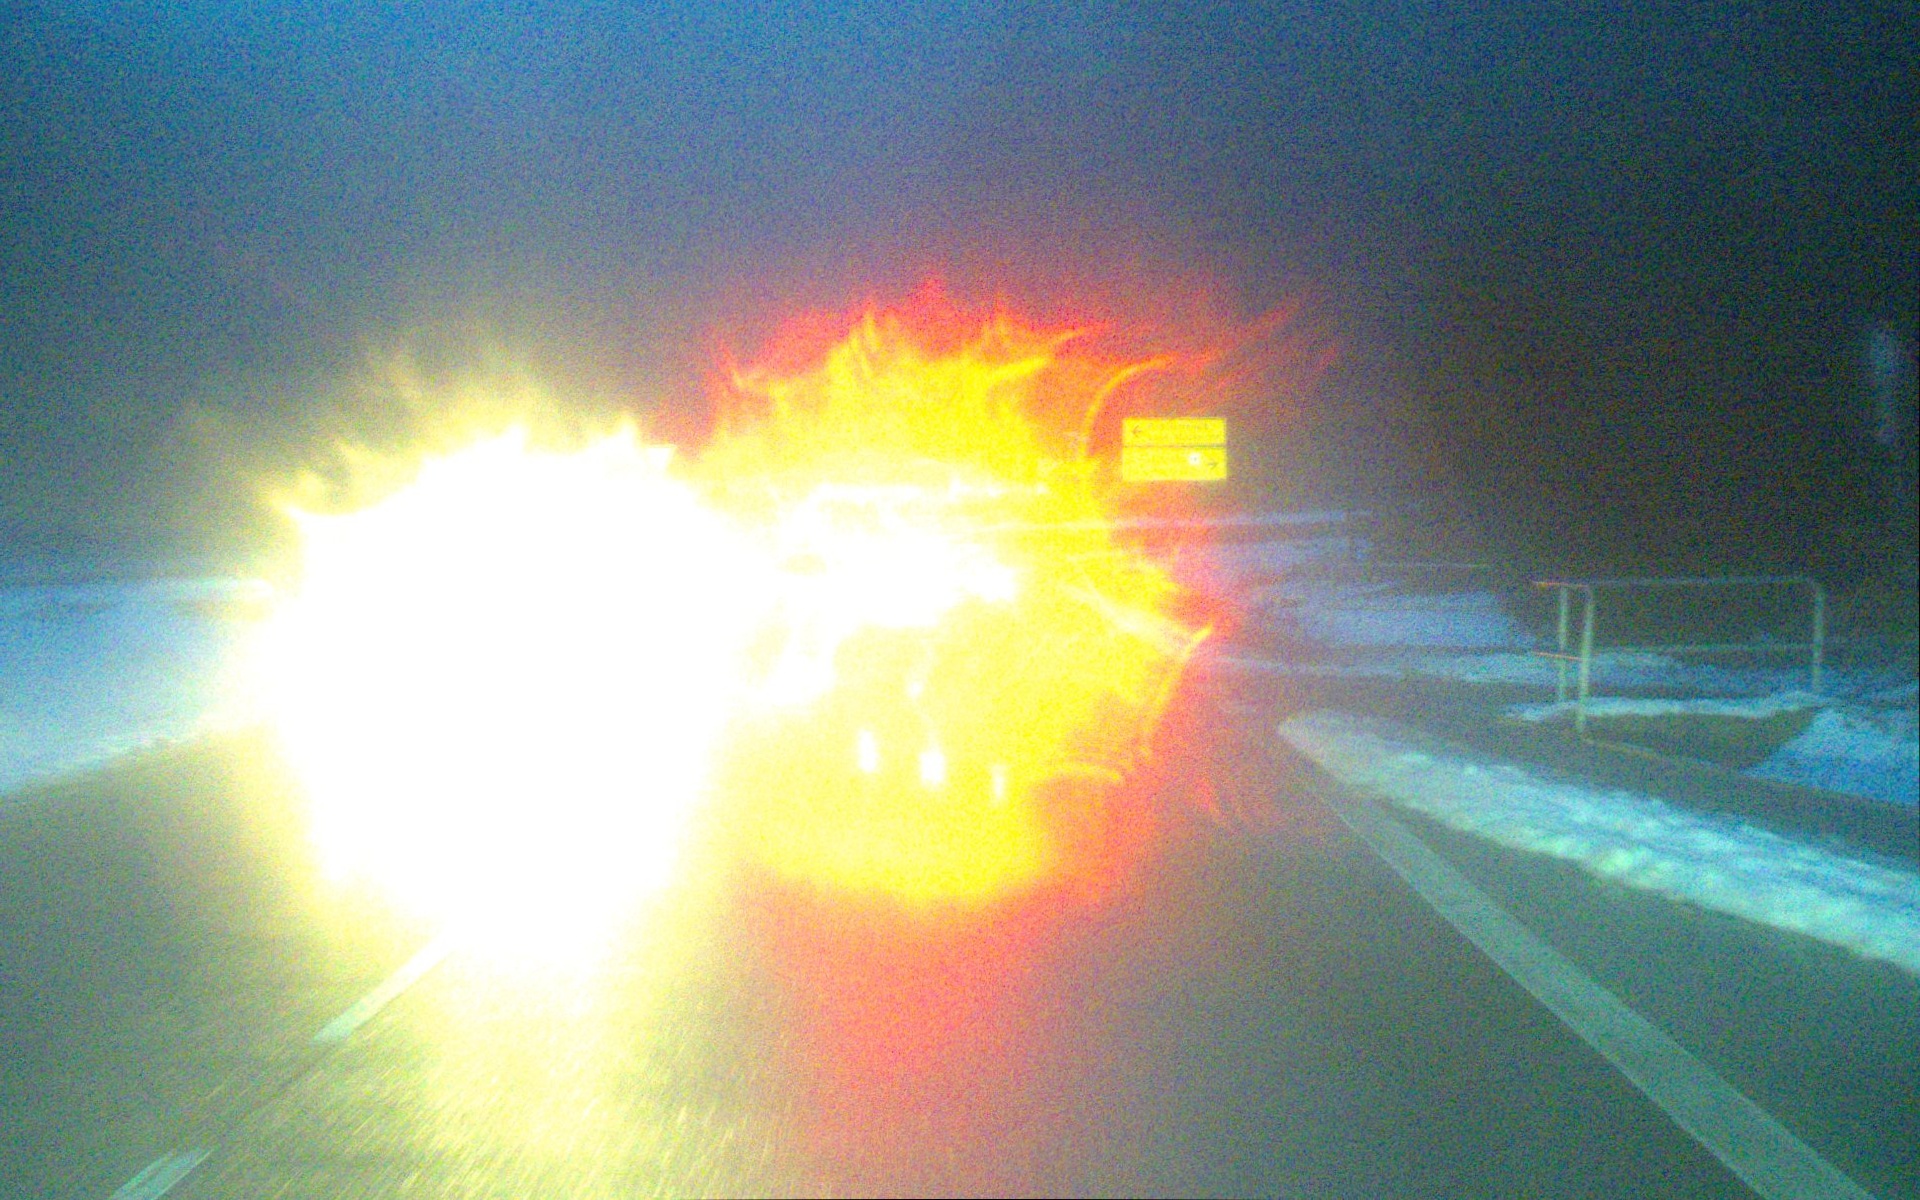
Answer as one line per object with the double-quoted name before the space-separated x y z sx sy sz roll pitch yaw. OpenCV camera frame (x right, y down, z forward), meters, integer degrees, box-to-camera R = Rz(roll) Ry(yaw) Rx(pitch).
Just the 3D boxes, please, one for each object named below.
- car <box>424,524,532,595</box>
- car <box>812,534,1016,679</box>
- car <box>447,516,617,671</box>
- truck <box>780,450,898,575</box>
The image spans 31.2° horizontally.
"car" -11.417 -0.978 81.588 1.741 1.481 4.005 -3 2 3
"car" -0.530 0.023 35.402 1.921 1.272 4.001 -1 3 -3
"car" -5.039 -0.125 40.963 1.751 1.687 4.427 -2 1 -4
"truck" -2.803 -1.993 78.411 2.075 2.736 5.321 -1 1 -9
